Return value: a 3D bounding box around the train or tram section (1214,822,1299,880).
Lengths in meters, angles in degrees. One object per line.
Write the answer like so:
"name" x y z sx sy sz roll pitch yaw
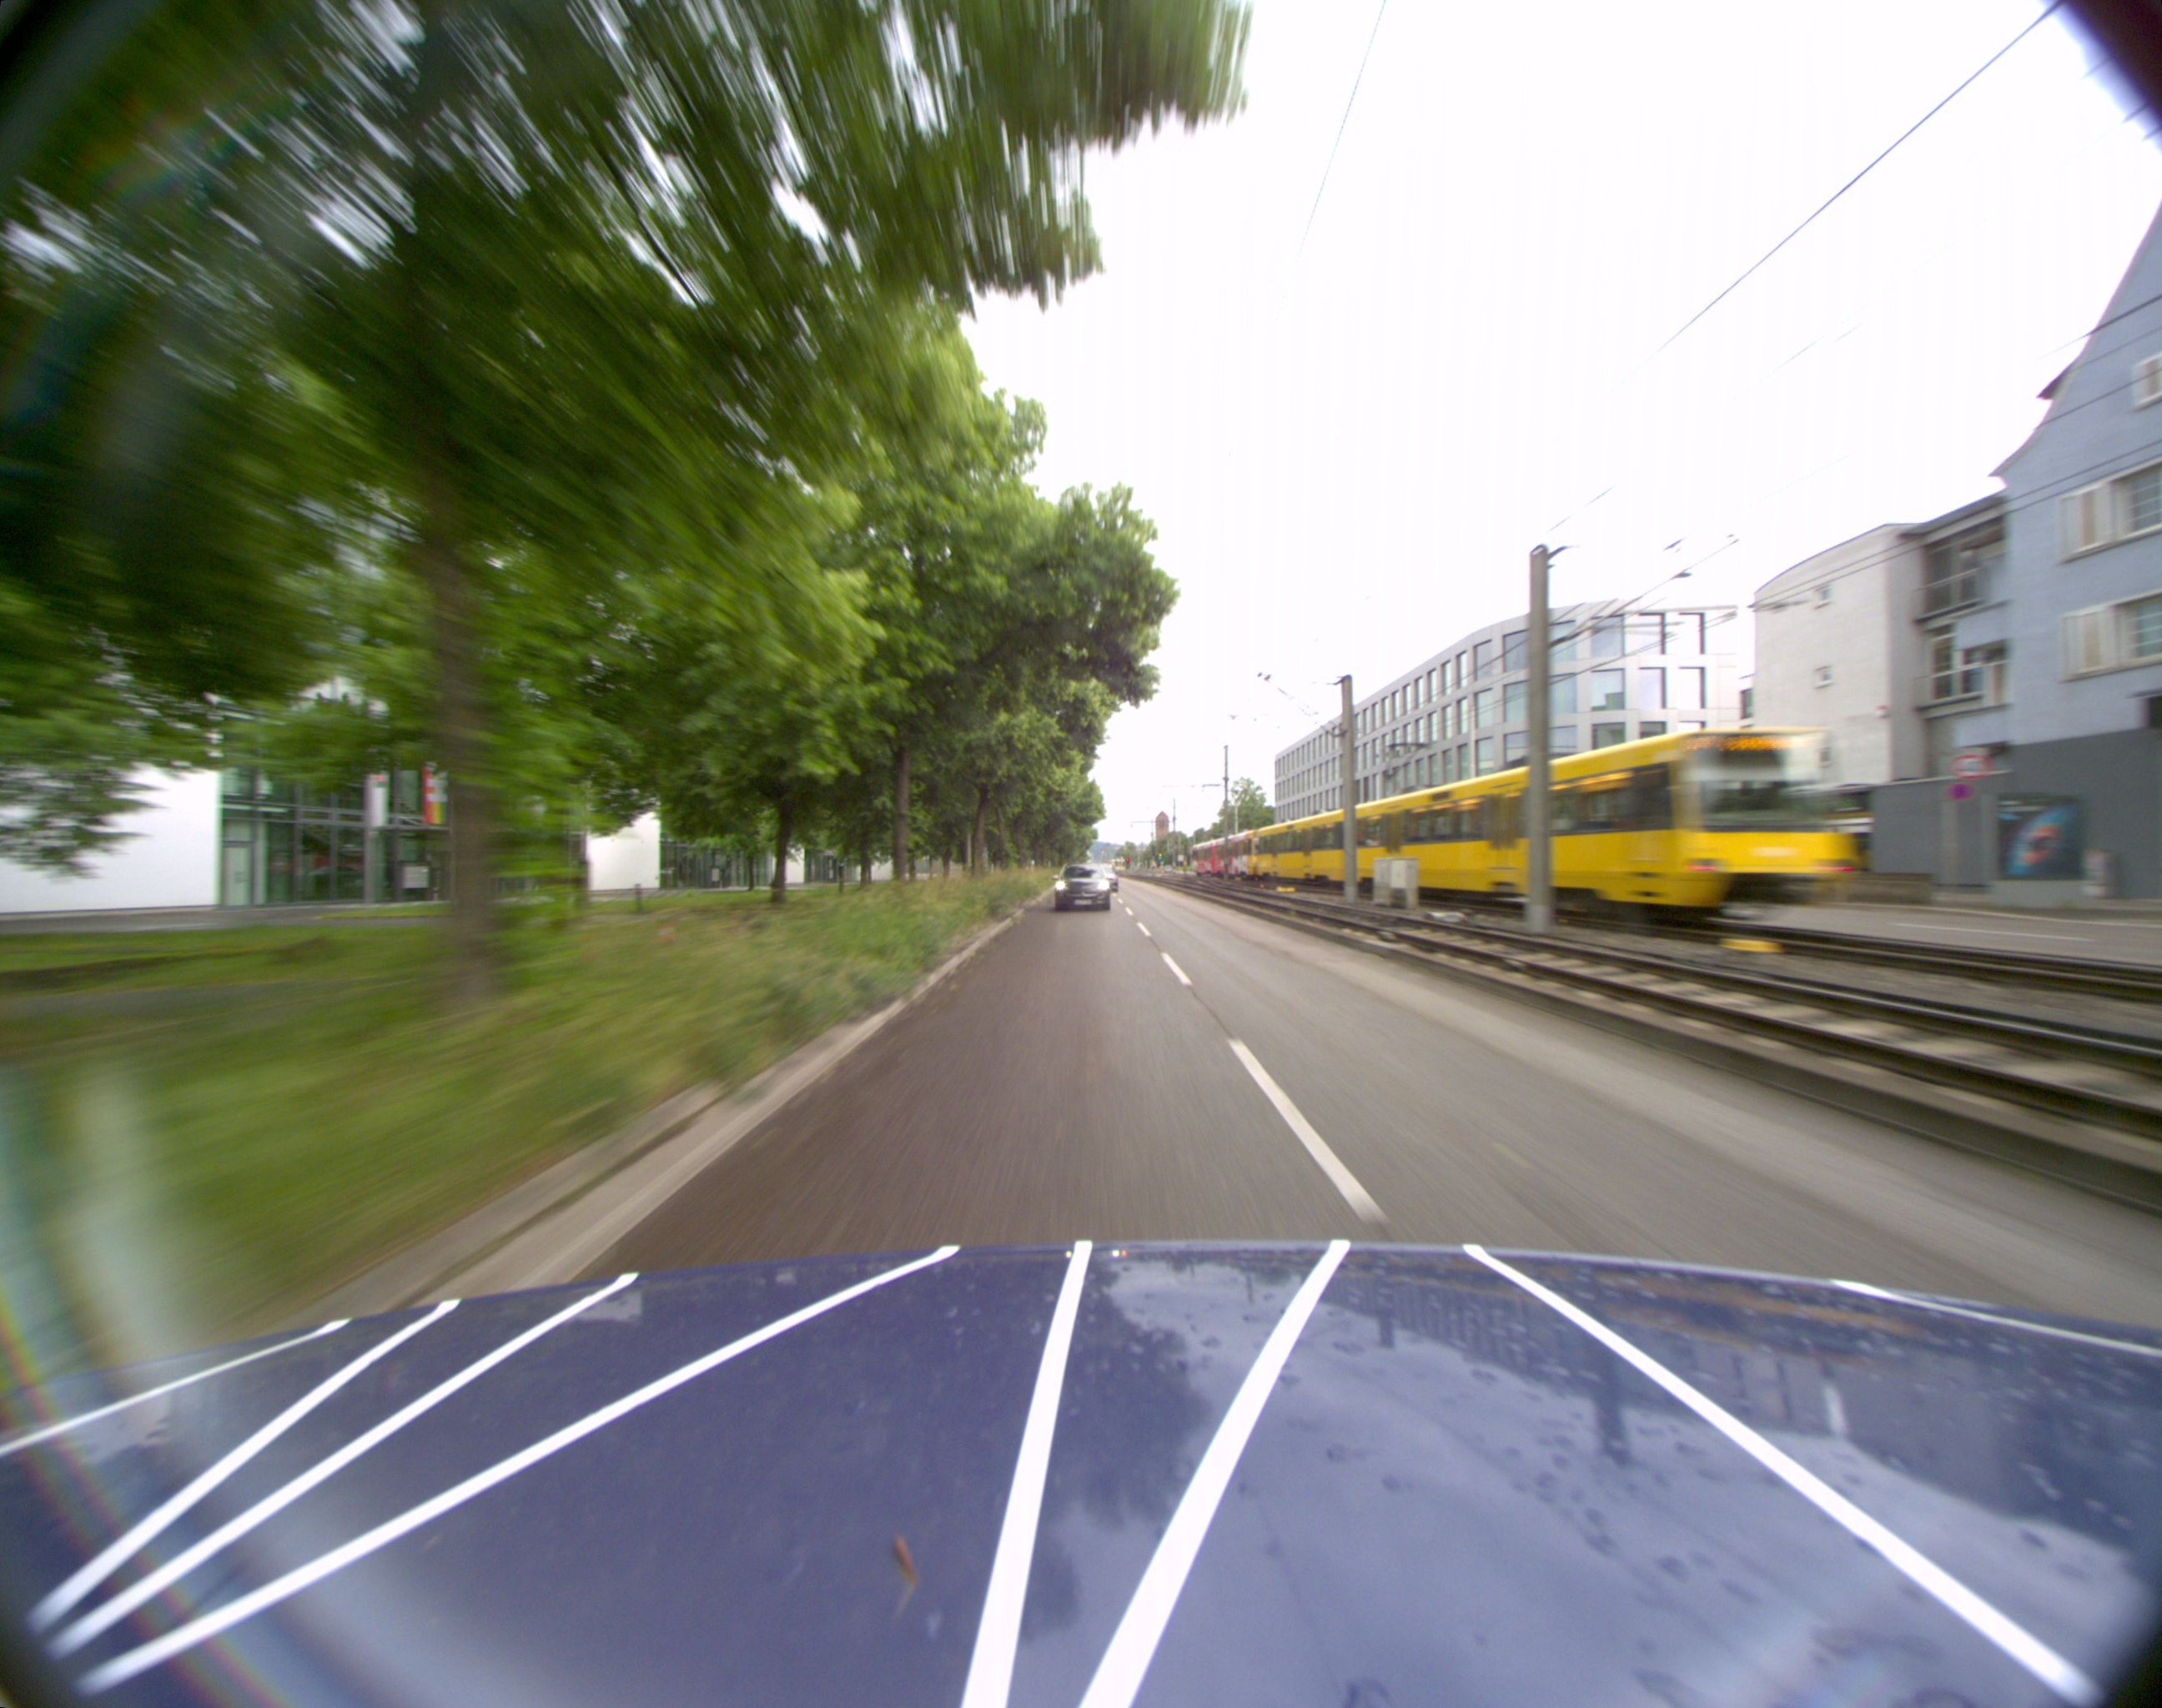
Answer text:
"train or tram section" 13.142 -0.108 59.117 2.974 3.788 18.618 -1 -1 2

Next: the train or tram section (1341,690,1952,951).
"train or tram section" 11.624 -0.389 20.925 2.974 3.788 19.524 -1 -1 2

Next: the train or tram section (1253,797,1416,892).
"train or tram section" 12.412 -0.293 40.254 2.974 3.788 19.102 -1 -1 2

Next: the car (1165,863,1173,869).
"car" 22.617 3.088 194.952 1.812 1.626 3.564 -1 -1 1

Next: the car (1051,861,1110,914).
"car" 0.052 1.004 24.572 1.698 1.439 4.421 -2 0 2

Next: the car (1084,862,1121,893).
"car" 1.059 1.156 38.867 1.770 1.439 3.833 -1 0 1

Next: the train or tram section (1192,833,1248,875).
"train or tram section" 13.895 0.081 77.743 2.974 3.788 18.618 -1 -1 2
